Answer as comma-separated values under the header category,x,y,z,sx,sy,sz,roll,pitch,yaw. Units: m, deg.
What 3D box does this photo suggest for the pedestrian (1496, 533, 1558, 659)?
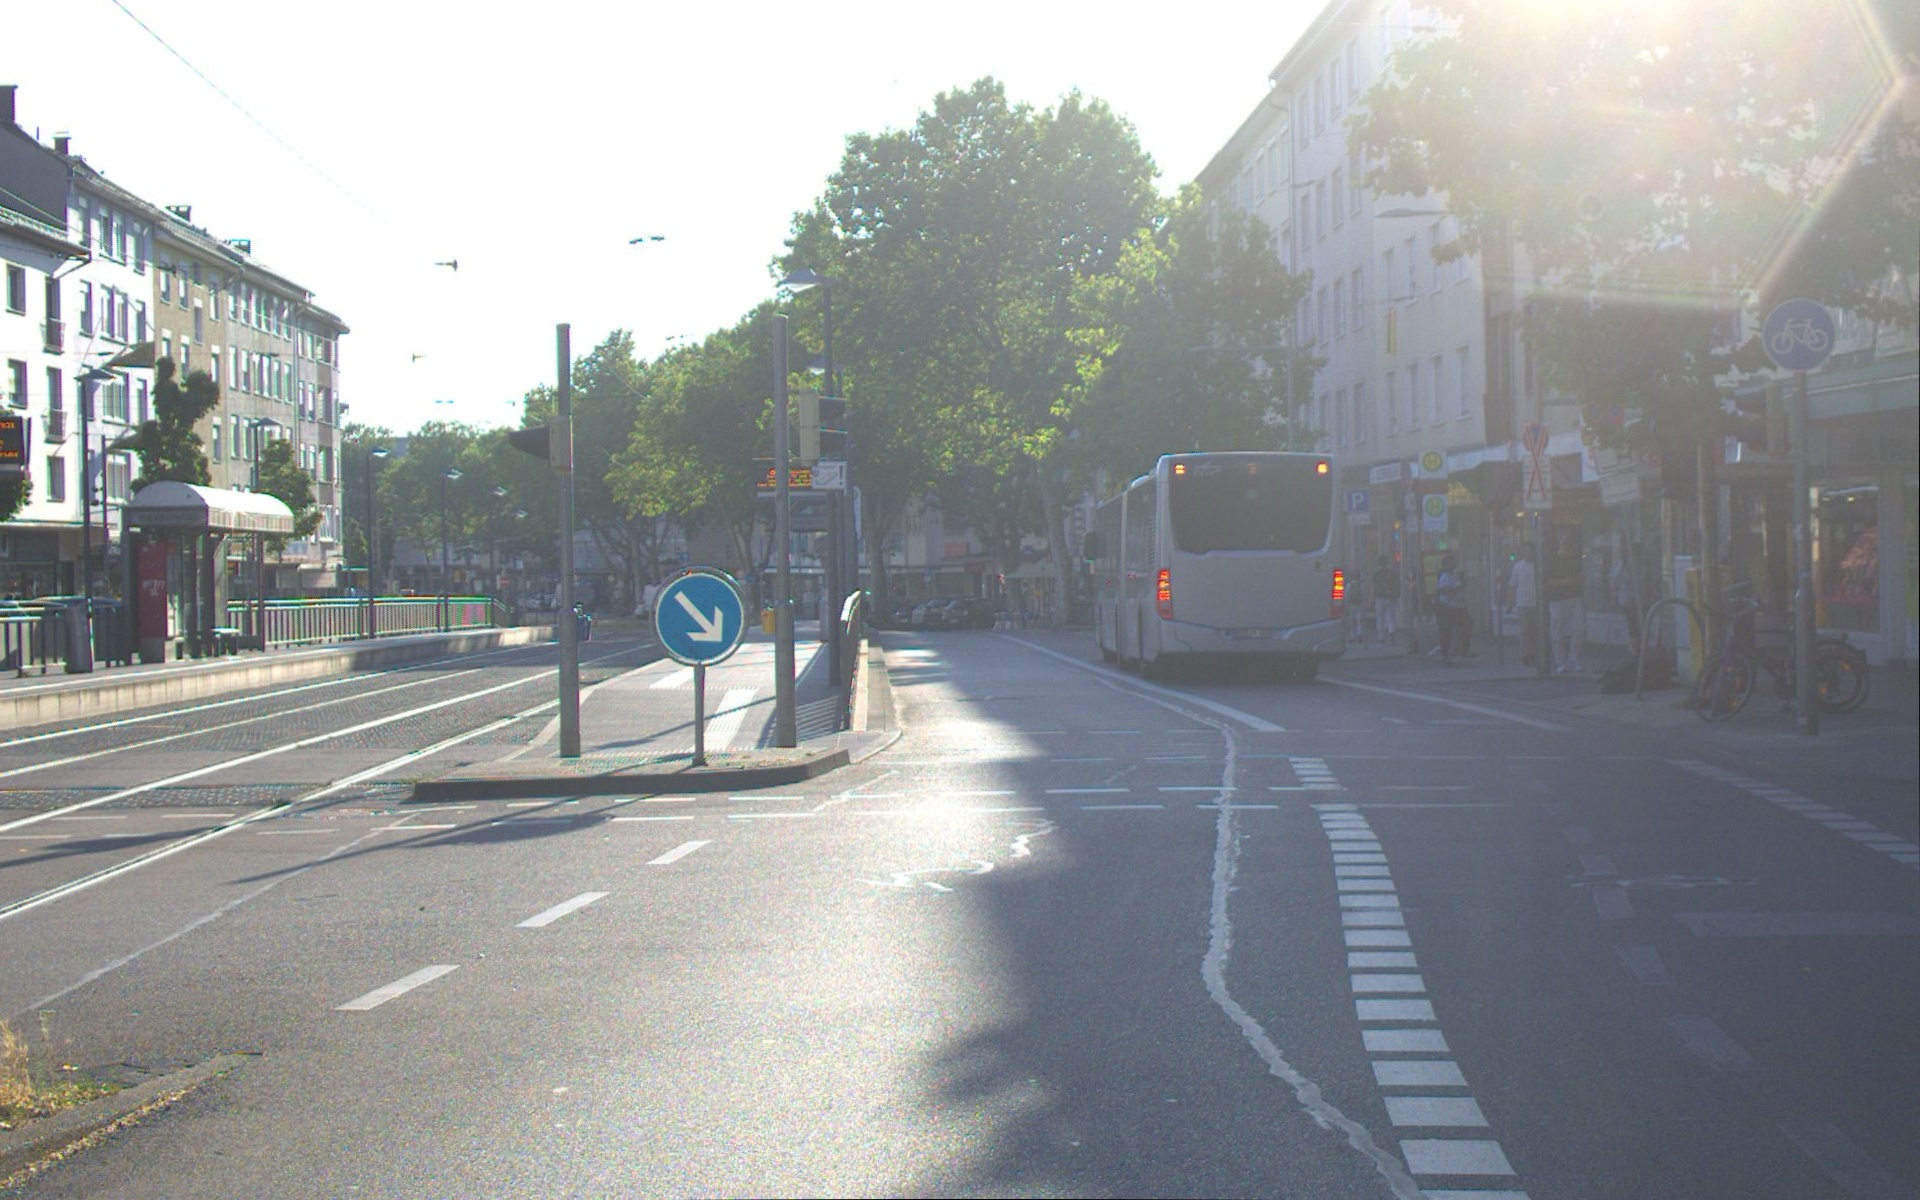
category,x,y,z,sx,sy,sz,roll,pitch,yaw
pedestrian,8.128,-0.062,49.298,0.723,1.773,0.766,-1,0,-1

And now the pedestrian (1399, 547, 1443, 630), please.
category,x,y,z,sx,sy,sz,roll,pitch,yaw
pedestrian,9.106,-0.225,67.979,0.723,1.627,0.766,-1,1,-1

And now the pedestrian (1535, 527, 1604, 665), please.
category,x,y,z,sx,sy,sz,roll,pitch,yaw
pedestrian,8.090,-0.050,45.650,0.723,1.800,0.766,-1,0,-1

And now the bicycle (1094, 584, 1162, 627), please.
category,x,y,z,sx,sy,sz,roll,pitch,yaw
bicycle,4.921,0.153,100.751,1.887,1.073,0.754,-5,0,2

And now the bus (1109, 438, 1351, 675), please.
category,x,y,z,sx,sy,sz,roll,pitch,yaw
bus,3.750,-0.606,49.904,2.696,3.107,9.382,0,0,0

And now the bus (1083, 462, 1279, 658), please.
category,x,y,z,sx,sy,sz,roll,pitch,yaw
bus,3.672,-0.674,59.128,2.696,3.107,9.070,0,0,0

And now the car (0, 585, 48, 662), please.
category,x,y,z,sx,sy,sz,roll,pitch,yaw
car,-22.476,0.557,77.227,1.768,1.674,3.504,0,1,35

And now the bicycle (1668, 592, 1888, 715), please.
category,x,y,z,sx,sy,sz,roll,pitch,yaw
bicycle,7.370,0.479,31.006,1.798,1.005,0.541,-3,0,-4

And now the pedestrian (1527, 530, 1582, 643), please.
category,x,y,z,sx,sy,sz,roll,pitch,yaw
pedestrian,9.827,-0.220,56.819,0.723,1.834,0.766,-1,0,-1

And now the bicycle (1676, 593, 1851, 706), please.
category,x,y,z,sx,sy,sz,roll,pitch,yaw
bicycle,7.397,0.450,31.657,1.482,1.005,0.454,-1,1,-4

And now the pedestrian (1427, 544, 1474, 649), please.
category,x,y,z,sx,sy,sz,roll,pitch,yaw
pedestrian,7.505,-0.059,52.616,0.610,1.573,0.851,-1,1,2

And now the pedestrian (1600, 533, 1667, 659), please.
category,x,y,z,sx,sy,sz,roll,pitch,yaw
pedestrian,9.327,-0.055,47.635,0.723,1.717,0.766,-1,0,-1
